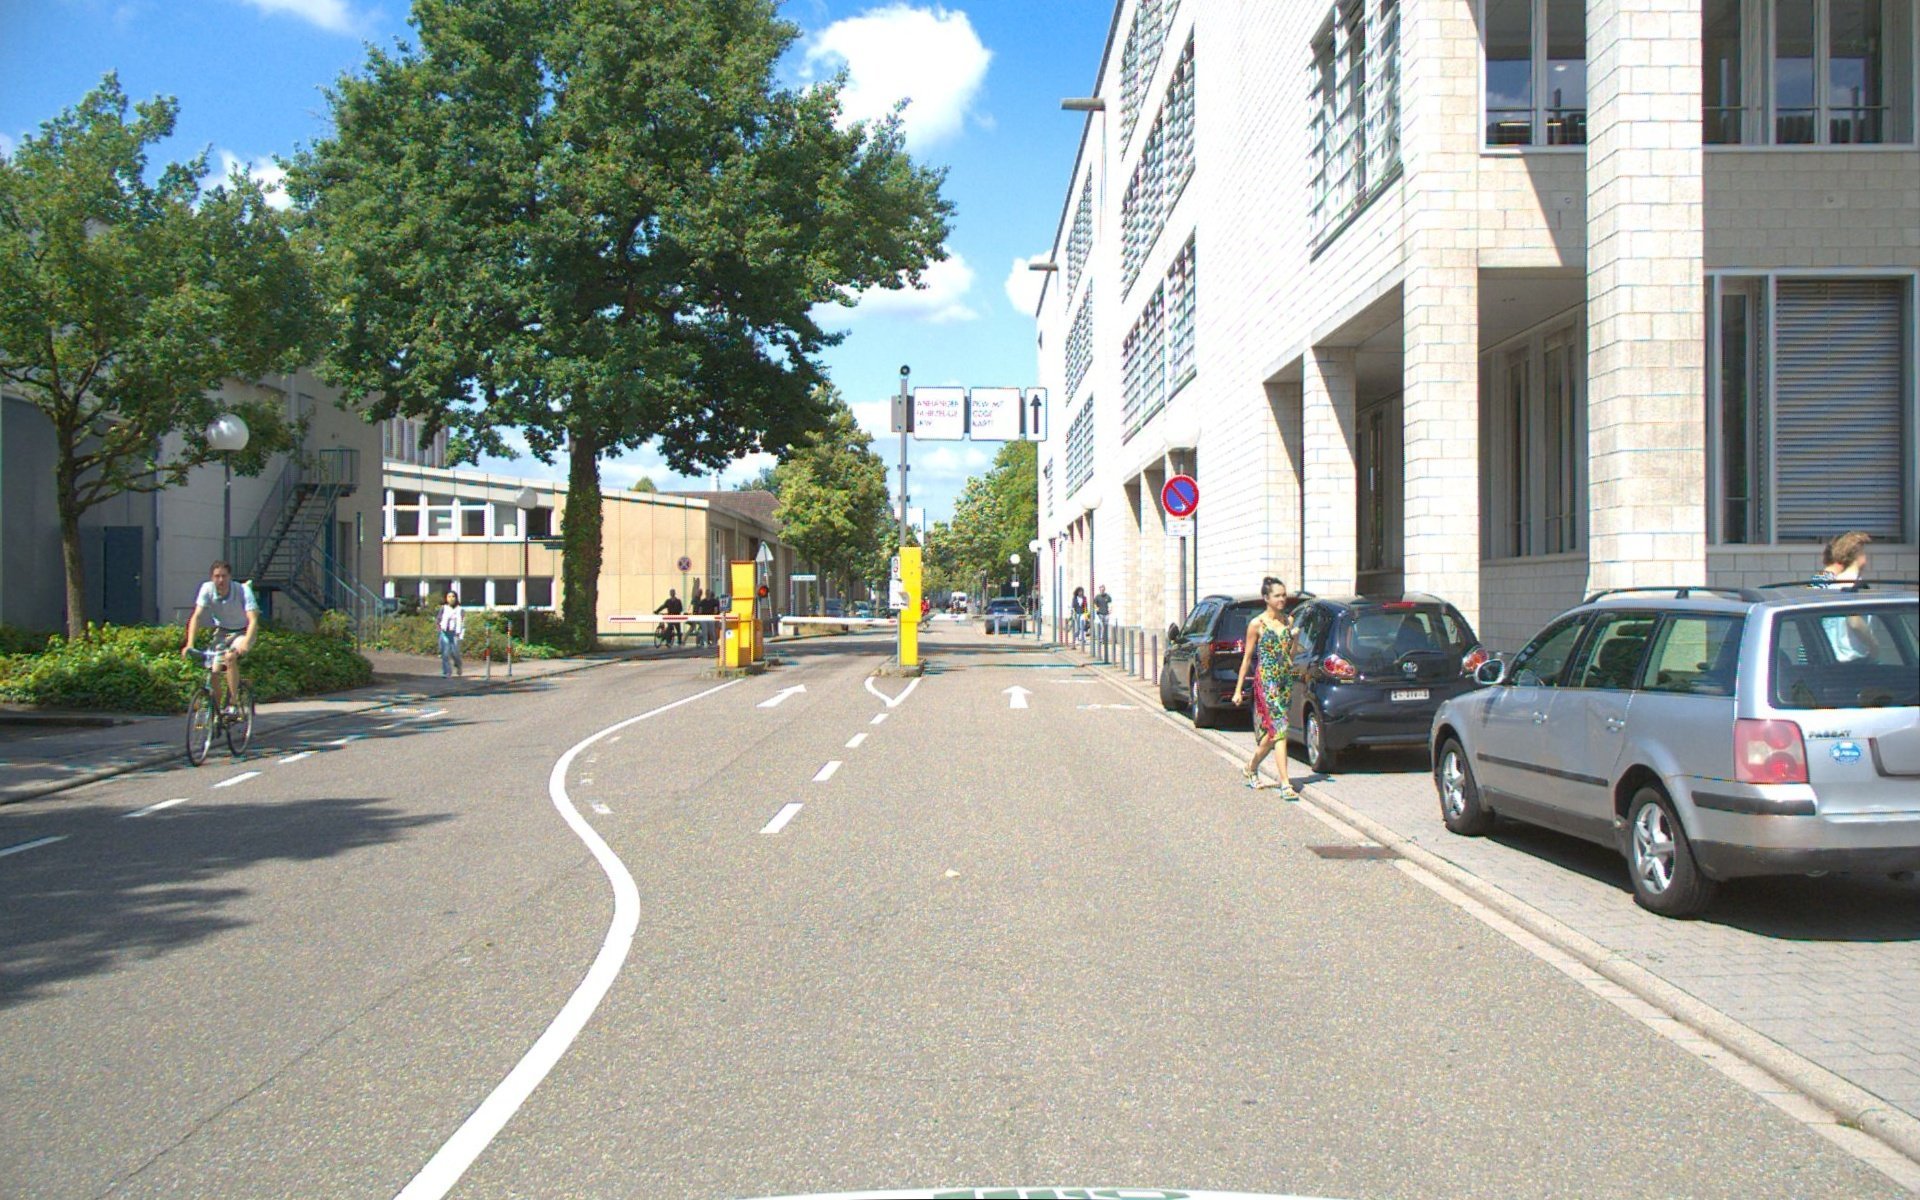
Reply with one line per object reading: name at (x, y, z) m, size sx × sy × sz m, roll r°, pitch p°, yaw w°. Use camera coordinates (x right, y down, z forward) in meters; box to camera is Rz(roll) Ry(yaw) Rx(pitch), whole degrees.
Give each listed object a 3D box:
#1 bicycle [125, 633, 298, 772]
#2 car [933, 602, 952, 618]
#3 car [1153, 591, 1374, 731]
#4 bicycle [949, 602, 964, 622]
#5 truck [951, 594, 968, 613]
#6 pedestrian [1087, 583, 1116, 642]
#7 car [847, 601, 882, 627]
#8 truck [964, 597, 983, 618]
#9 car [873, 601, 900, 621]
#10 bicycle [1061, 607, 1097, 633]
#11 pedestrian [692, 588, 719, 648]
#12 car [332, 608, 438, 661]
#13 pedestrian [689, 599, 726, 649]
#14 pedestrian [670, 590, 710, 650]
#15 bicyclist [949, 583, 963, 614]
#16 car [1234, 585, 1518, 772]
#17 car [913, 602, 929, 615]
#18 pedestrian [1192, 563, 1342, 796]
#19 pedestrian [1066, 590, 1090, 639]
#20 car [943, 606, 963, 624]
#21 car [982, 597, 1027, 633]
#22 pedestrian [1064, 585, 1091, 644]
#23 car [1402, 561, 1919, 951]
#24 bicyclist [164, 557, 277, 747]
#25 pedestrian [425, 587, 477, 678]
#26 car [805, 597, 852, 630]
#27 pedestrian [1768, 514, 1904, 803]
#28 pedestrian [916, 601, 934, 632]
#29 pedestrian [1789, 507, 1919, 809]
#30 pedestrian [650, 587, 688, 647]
bicycle at (-7.097, 0.934, 15.810) m, size 0.678 × 1.191 × 2.209 m, roll -1°, pitch 0°, yaw -1°
car at (-1.957, 1.141, 185.281) m, size 1.952 × 1.751 × 4.001 m, roll -1°, pitch -2°, yaw 2°
car at (3.530, 0.661, 20.039) m, size 1.828 × 1.490 × 4.520 m, roll 0°, pitch 0°, yaw 0°
bicycle at (-0.250, 0.882, 117.028) m, size 0.967 × 1.339 × 2.963 m, roll -1°, pitch -2°, yaw -1°
truck at (-0.082, 0.460, 209.627) m, size 1.953 × 2.311 × 4.613 m, roll -1°, pitch -2°, yaw -2°
pedestrian at (4.425, 0.379, 51.925) m, size 0.751 × 1.812 × 0.910 m, roll -2°, pitch 0°, yaw -2°
car at (-5.944, 0.869, 103.566) m, size 1.952 × 1.573 × 4.211 m, roll 0°, pitch 0°, yaw 0°
truck at (1.426, 0.818, 179.269) m, size 1.953 × 2.049 × 3.998 m, roll -1°, pitch -2°, yaw -2°
car at (-5.811, 0.874, 131.704) m, size 1.952 × 1.573 × 4.211 m, roll 0°, pitch 0°, yaw 0°
bicycle at (5.136, 0.846, 71.364) m, size 1.511 × 1.085 × 0.648 m, roll -1°, pitch 0°, yaw 8°
pedestrian at (-7.909, 0.542, 51.477) m, size 0.691 × 1.841 × 1.001 m, roll -1°, pitch 0°, yaw -1°
car at (-17.420, 1.017, 50.285) m, size 1.792 × 1.492 × 4.298 m, roll 0°, pitch 0°, yaw -1°
pedestrian at (-8.468, 0.817, 55.494) m, size 0.868 × 1.661 × 0.895 m, roll 0°, pitch -1°, yaw 29°
pedestrian at (-8.918, 0.669, 54.565) m, size 0.868 × 1.959 × 1.004 m, roll 0°, pitch -1°, yaw 29°
bicyclist at (-0.297, -0.076, 117.528) m, size 0.967 × 2.169 × 1.036 m, roll -1°, pitch -2°, yaw -1°
car at (3.749, 0.645, 15.572) m, size 1.581 × 1.523 × 4.005 m, roll 0°, pitch 0°, yaw -1°
car at (-5.574, 1.230, 236.197) m, size 1.952 × 1.751 × 4.001 m, roll -1°, pitch -2°, yaw 2°
pedestrian at (2.401, 0.597, 13.009) m, size 0.617 × 1.747 × 1.029 m, roll 0°, pitch 0°, yaw -32°
pedestrian at (4.094, 0.490, 57.407) m, size 0.726 × 1.661 × 0.887 m, roll -2°, pitch 0°, yaw -2°
car at (-0.775, 1.639, 177.165) m, size 1.952 × 1.751 × 4.001 m, roll -1°, pitch -2°, yaw 2°
car at (1.972, 0.645, 74.432) m, size 1.952 × 1.573 × 4.211 m, roll 0°, pitch 0°, yaw 0°
pedestrian at (3.678, 0.449, 51.857) m, size 0.681 × 1.812 × 1.085 m, roll -2°, pitch 0°, yaw -2°
car at (3.998, 0.615, 9.036) m, size 1.685 × 1.556 × 4.563 m, roll -2°, pitch 0°, yaw -3°
bicyclist at (-7.090, 0.491, 15.898) m, size 0.678 × 1.767 × 0.918 m, roll -1°, pitch -1°, yaw -1°
pedestrian at (-9.352, 0.589, 30.389) m, size 0.698 × 1.655 × 0.883 m, roll 0°, pitch 0°, yaw -2°
car at (-6.472, 0.666, 81.615) m, size 1.952 × 1.573 × 4.211 m, roll 0°, pitch 0°, yaw 0°
pedestrian at (6.189, 0.400, 11.721) m, size 0.766 × 1.959 × 0.734 m, roll 0°, pitch 0°, yaw 22°
pedestrian at (-1.857, 0.883, 87.630) m, size 0.876 × 1.661 × 0.887 m, roll 0°, pitch -1°, yaw -3°
pedestrian at (6.031, 0.377, 11.111) m, size 0.767 × 1.959 × 0.593 m, roll 0°, pitch 0°, yaw 22°
pedestrian at (-9.095, 0.514, 51.717) m, size 1.034 × 1.847 × 0.806 m, roll -1°, pitch 0°, yaw -2°
